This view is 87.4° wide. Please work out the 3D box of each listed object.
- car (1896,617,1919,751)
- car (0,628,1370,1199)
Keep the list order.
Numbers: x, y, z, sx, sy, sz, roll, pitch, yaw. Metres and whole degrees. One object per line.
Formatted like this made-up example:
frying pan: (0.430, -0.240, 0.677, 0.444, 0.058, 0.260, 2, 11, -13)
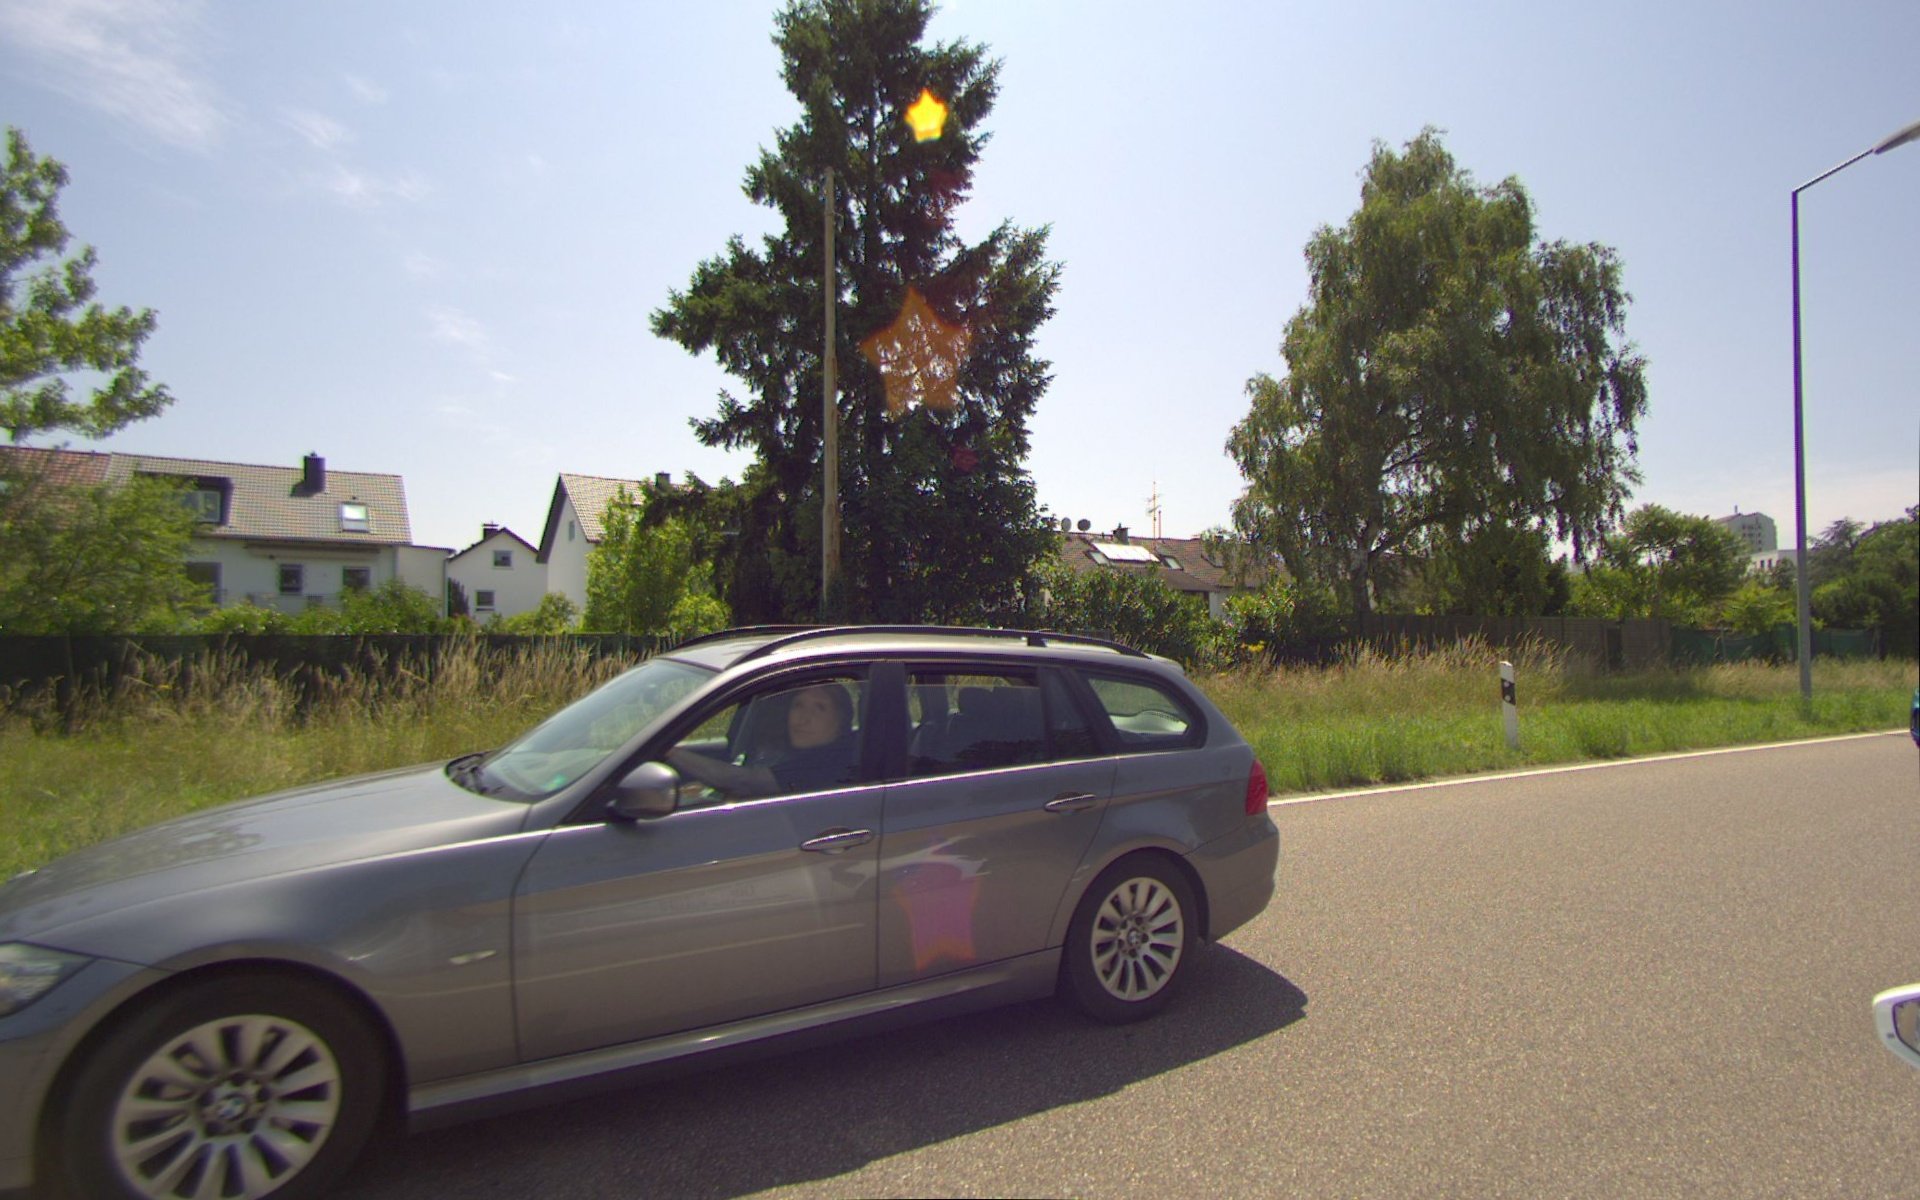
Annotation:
car: (13.007, 0.969, 11.877, 3.954, 1.525, 1.806, 1, -2, -31)
car: (-0.554, 0.829, 3.861, 4.274, 1.441, 1.748, 1, -2, -31)
